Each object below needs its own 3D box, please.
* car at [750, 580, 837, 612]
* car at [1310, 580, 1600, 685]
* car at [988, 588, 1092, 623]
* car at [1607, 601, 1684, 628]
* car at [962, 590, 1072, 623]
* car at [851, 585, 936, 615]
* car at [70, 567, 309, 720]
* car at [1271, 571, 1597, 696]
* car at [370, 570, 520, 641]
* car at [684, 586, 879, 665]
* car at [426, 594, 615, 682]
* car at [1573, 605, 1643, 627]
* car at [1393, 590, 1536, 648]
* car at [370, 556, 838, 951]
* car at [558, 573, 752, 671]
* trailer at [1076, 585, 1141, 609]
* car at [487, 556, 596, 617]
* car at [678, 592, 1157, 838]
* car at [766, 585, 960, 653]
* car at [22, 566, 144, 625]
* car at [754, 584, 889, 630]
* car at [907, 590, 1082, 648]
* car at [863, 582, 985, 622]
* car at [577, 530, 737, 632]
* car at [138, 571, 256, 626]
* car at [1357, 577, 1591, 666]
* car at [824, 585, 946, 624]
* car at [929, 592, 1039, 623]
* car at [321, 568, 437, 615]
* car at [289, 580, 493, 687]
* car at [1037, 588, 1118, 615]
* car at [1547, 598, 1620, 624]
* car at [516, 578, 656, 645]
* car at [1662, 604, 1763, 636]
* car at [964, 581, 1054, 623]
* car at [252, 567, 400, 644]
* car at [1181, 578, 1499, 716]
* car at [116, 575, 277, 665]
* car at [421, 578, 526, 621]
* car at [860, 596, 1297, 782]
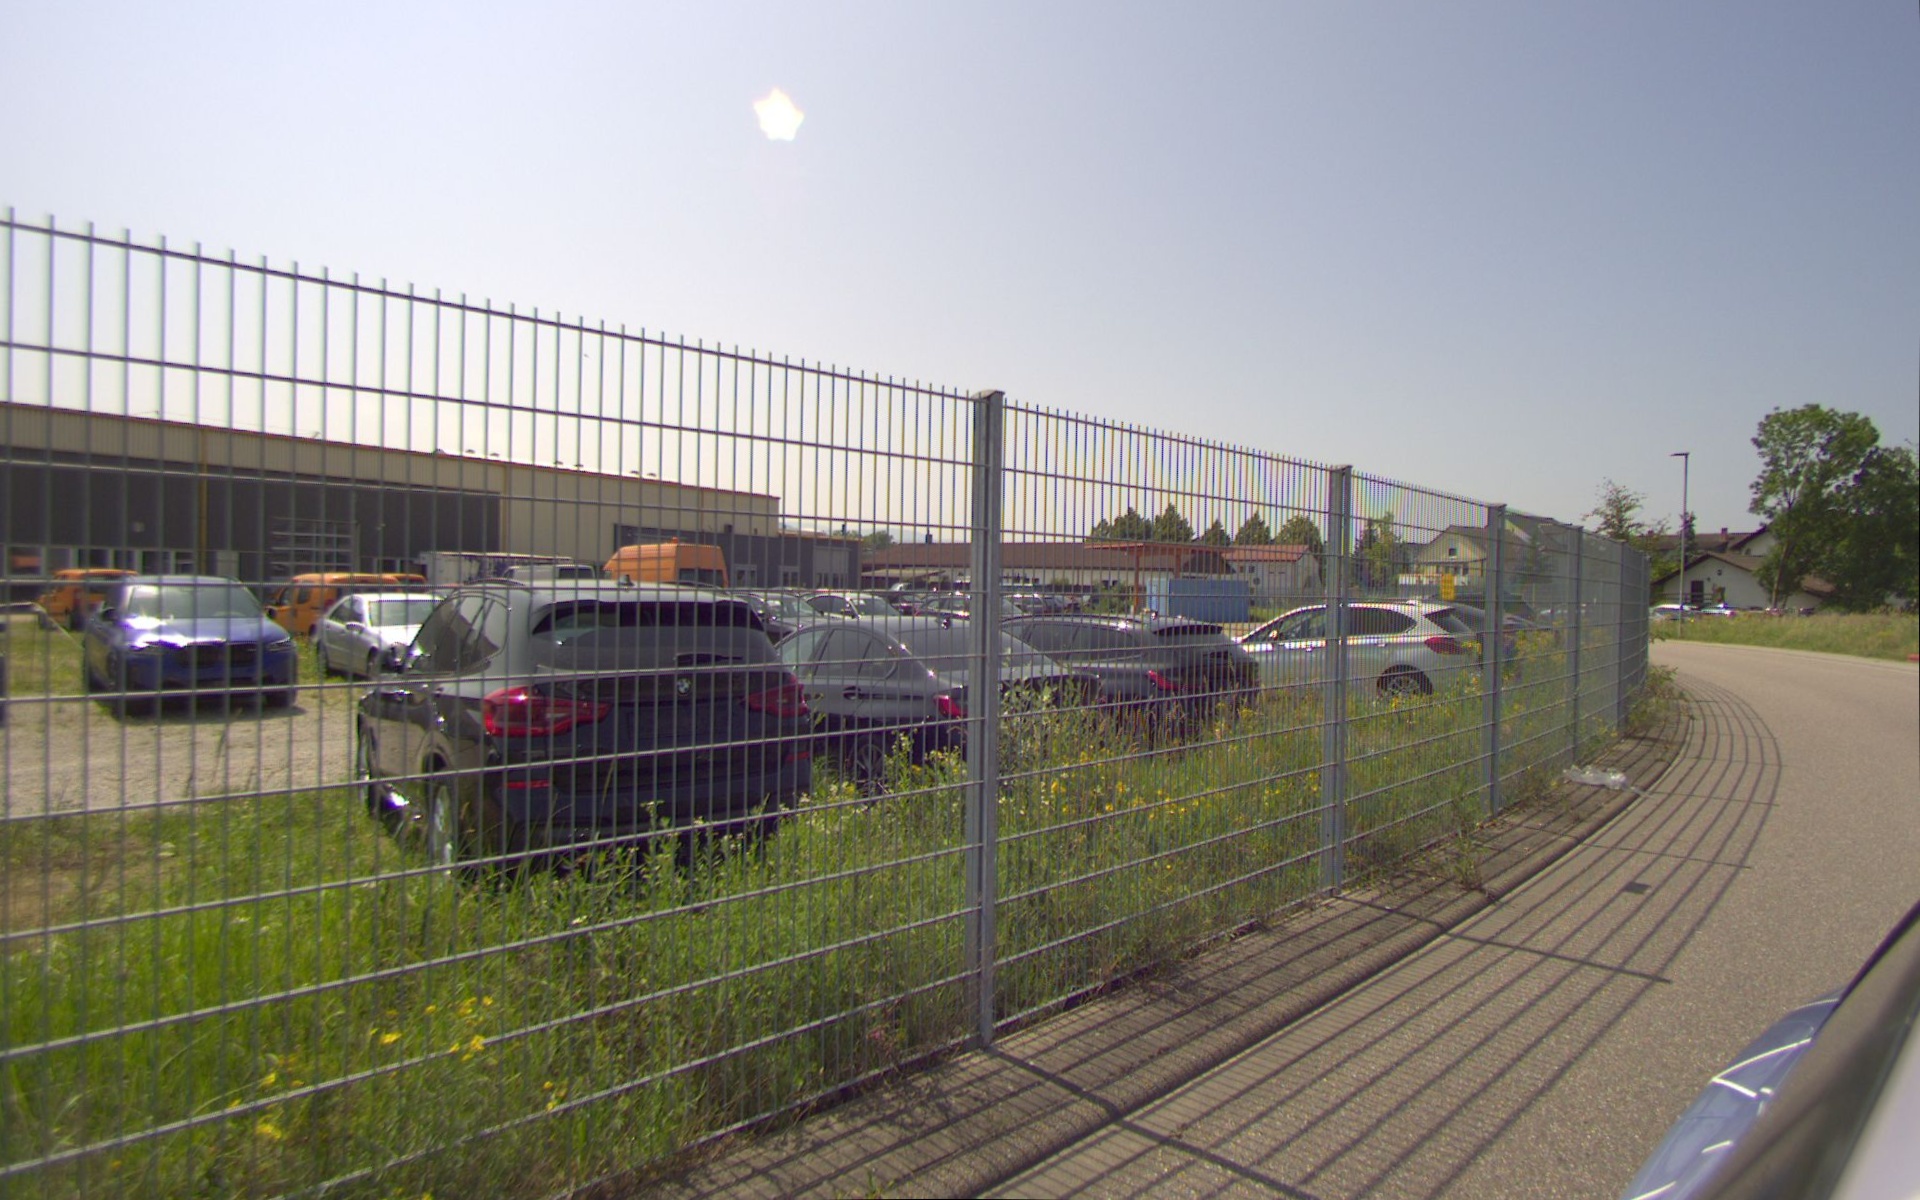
[{"bbox_3d":[-8.247,-0.210,49.969,4.369,1.395,1.816,2,1,39],"label":"car"},{"bbox_3d":[8.906,0.508,18.417,4.460,1.602,1.771,2,1,38],"label":"car"},{"bbox_3d":[3.538,0.238,45.214,4.369,1.362,1.816,2,1,39],"label":"car"},{"bbox_3d":[40.337,0.832,59.647,1.549,1.437,3.469,1,1,-22],"label":"car"},{"bbox_3d":[2.356,0.246,42.627,4.369,1.221,1.816,3,1,39],"label":"car"},{"bbox_3d":[-3.546,-0.002,53.504,4.369,1.395,1.816,2,1,39],"label":"car"},{"bbox_3d":[-10.448,0.450,13.589,4.461,1.669,1.848,3,1,44],"label":"car"},{"bbox_3d":[7.524,0.443,16.358,4.466,1.690,1.697,3,1,41],"label":"car"},{"bbox_3d":[-12.150,0.081,23.795,3.811,1.480,1.731,2,1,39],"label":"car"},{"bbox_3d":[-4.014,0.500,22.295,4.554,1.450,1.639,2,1,39],"label":"car"},{"bbox_3d":[-8.002,0.622,18.297,3.755,1.318,1.589,2,1,39],"label":"car"},{"bbox_3d":[42.623,1.039,66.629,1.549,1.262,3.654,1,1,-22],"label":"car"},{"bbox_3d":[14.076,0.495,28.433,3.438,1.435,1.505,2,1,23],"label":"car"},{"bbox_3d":[-2.585,0.595,6.514,1.731,1.658,4.295,1,1,-35],"label":"car"},{"bbox_3d":[-6.282,0.346,20.682,3.983,1.739,1.971,2,3,41],"label":"car"},{"bbox_3d":[11.078,-0.186,75.432,4.522,1.586,1.772,2,-2,-25],"label":"trailer"},{"bbox_3d":[-16.397,-0.543,39.539,4.365,2.199,1.948,2,1,37],"label":"car"},{"bbox_3d":[-0.613,0.704,8.405,1.733,1.395,4.291,1,1,-39],"label":"car"},{"bbox_3d":[-2.409,0.411,24.373,4.737,1.369,1.795,3,1,39],"label":"car"},{"bbox_3d":[-25.173,-0.159,29.017,4.365,1.504,1.730,2,1,37],"label":"car"},{"bbox_3d":[-4.519,0.212,32.708,4.369,1.285,1.795,3,1,39],"label":"car"},{"bbox_3d":[0.882,0.481,28.087,4.737,1.369,1.795,3,1,39],"label":"car"},{"bbox_3d":[-1.385,0.057,37.546,4.369,1.291,1.852,3,1,39],"label":"car"},{"bbox_3d":[-8.541,-0.560,28.356,4.724,2.617,1.952,2,1,39],"label":"car"},{"bbox_3d":[-23.536,-0.063,31.155,4.365,1.504,1.730,2,1,37],"label":"car"},{"bbox_3d":[11.821,0.435,23.592,4.653,1.791,1.727,2,1,26],"label":"car"},{"bbox_3d":[-2.651,0.138,35.325,4.369,1.198,1.554,3,1,39],"label":"car"},{"bbox_3d":[0.919,0.292,40.622,4.369,1.046,1.596,3,1,39],"label":"car"},{"bbox_3d":[-20.459,-0.319,35.567,4.365,1.504,1.948,2,1,37],"label":"car"},{"bbox_3d":[-9.256,0.471,16.365,3.755,1.455,1.589,2,1,39],"label":"car"},{"bbox_3d":[5.427,0.063,46.925,3.359,1.122,1.648,2,1,39],"label":"car"},{"bbox_3d":[38.835,0.672,63.104,1.549,1.508,3.654,1,1,-22],"label":"car"},{"bbox_3d":[-9.443,0.253,25.448,3.811,1.480,1.566,2,1,39],"label":"car"},{"bbox_3d":[37.019,0.948,49.933,1.551,1.351,4.406,1,1,-2],"label":"car"},{"bbox_3d":[2.497,0.072,52.026,4.369,2.007,1.816,2,1,39],"label":"car"},{"bbox_3d":[-13.770,0.071,21.902,3.811,1.480,1.566,2,1,39],"label":"car"},{"bbox_3d":[5.570,0.591,15.082,4.113,1.690,1.700,2,1,38],"label":"car"},{"bbox_3d":[-14.523,0.323,19.191,3.811,1.480,1.566,2,1,39],"label":"car"},{"bbox_3d":[-18.008,-0.037,37.379,4.369,1.395,1.816,2,1,39],"label":"car"},{"bbox_3d":[1.032,0.736,10.482,1.736,1.395,4.343,1,1,-45],"label":"car"}]
